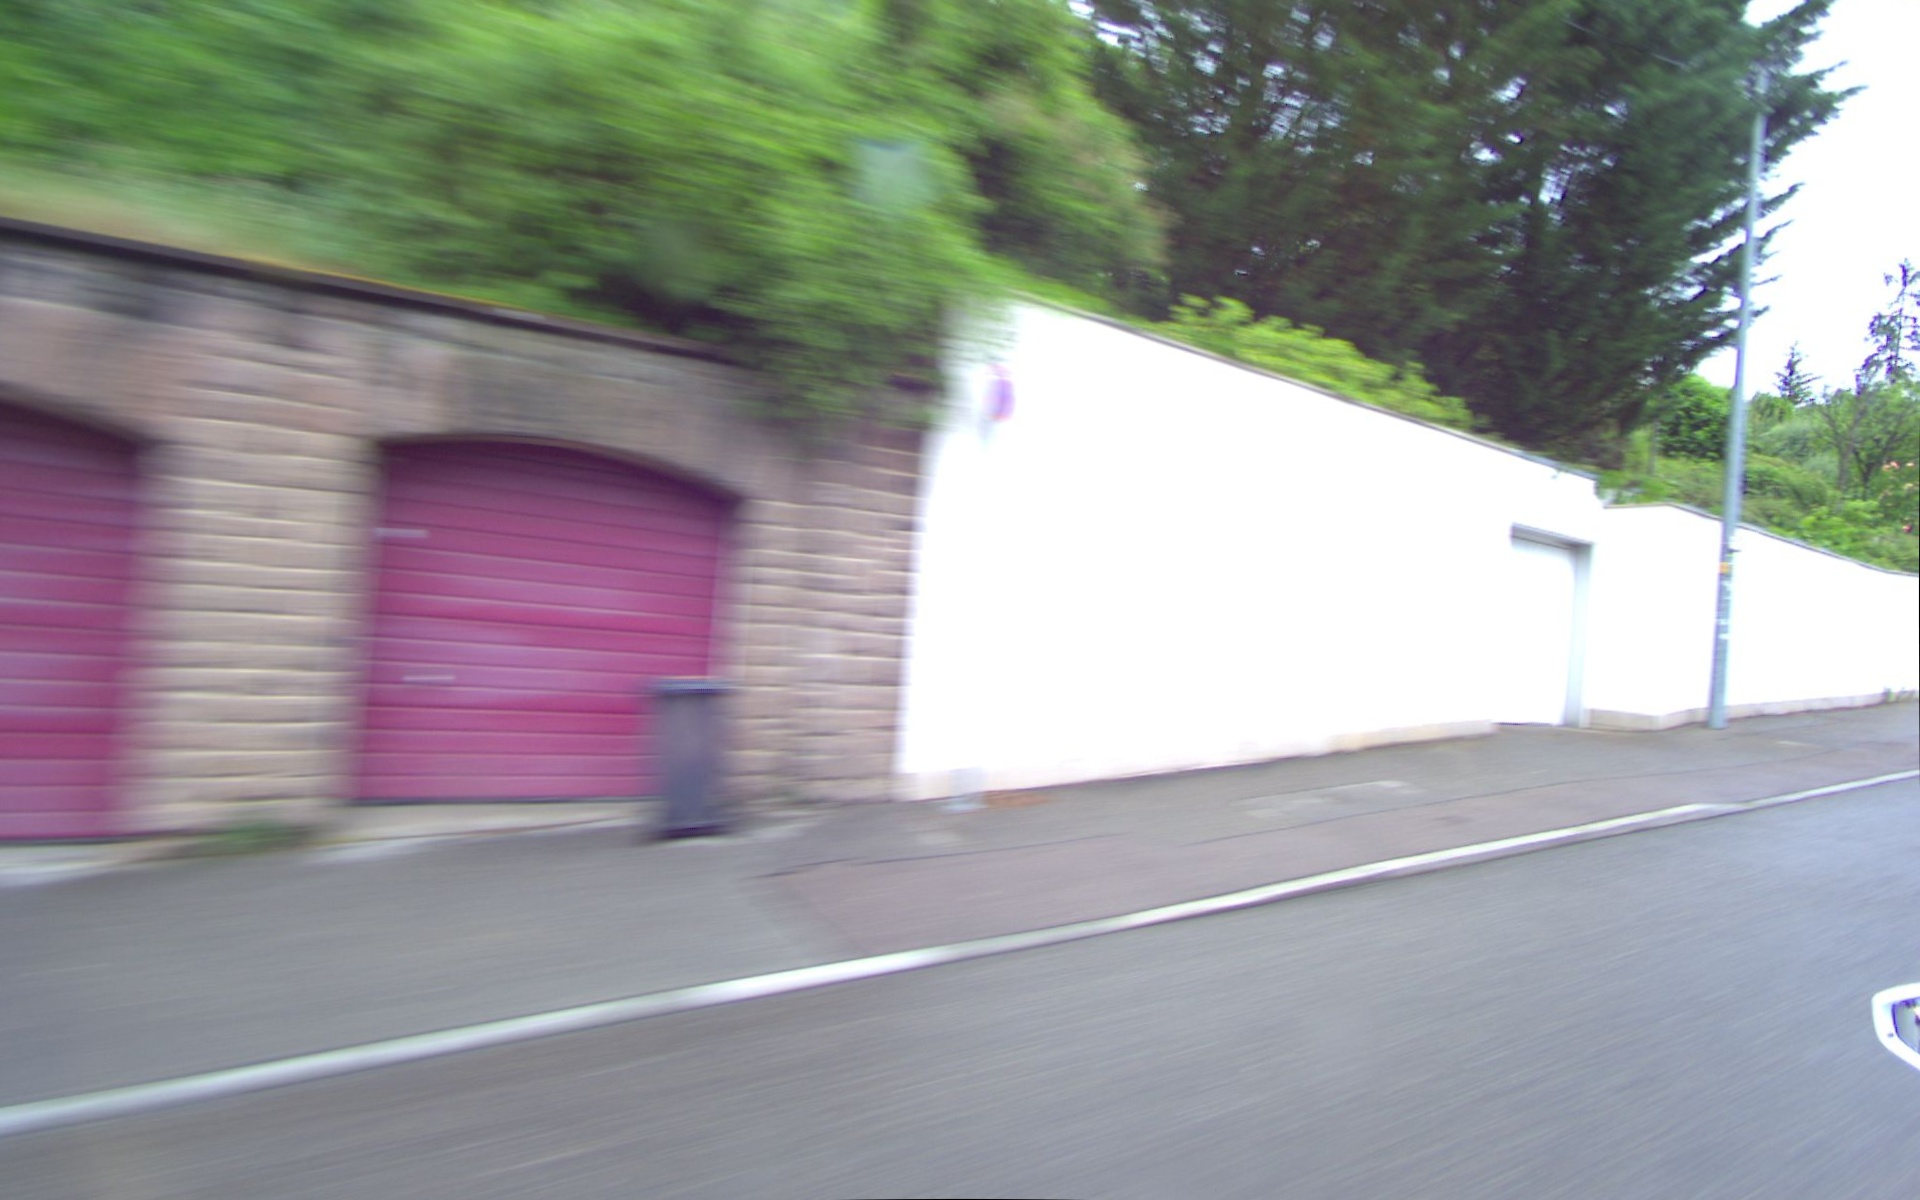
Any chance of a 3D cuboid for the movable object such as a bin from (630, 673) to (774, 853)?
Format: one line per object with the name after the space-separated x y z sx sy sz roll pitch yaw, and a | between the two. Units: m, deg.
-1.553 0.935 6.009 0.669 0.932 0.655 1 2 -29 | movable object such as a bin
